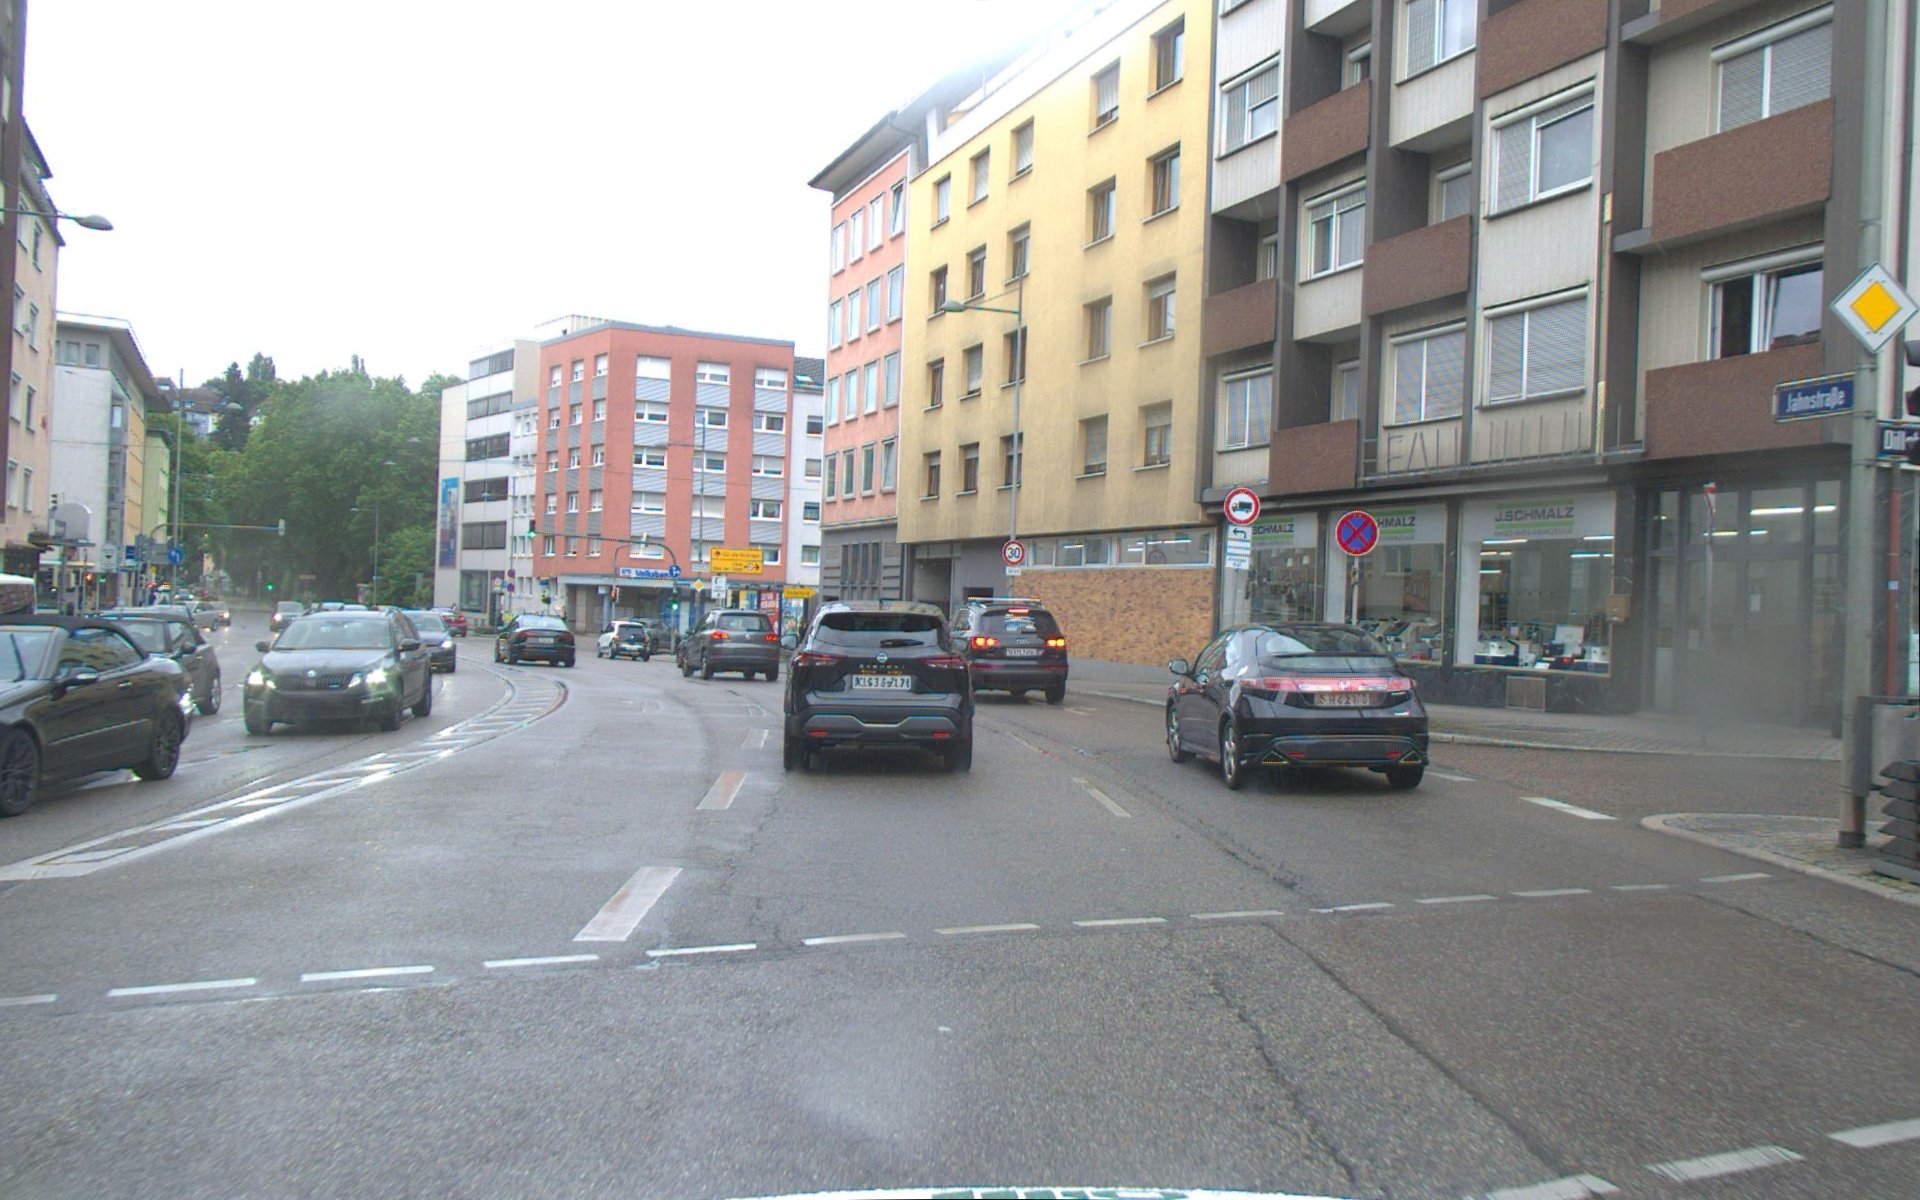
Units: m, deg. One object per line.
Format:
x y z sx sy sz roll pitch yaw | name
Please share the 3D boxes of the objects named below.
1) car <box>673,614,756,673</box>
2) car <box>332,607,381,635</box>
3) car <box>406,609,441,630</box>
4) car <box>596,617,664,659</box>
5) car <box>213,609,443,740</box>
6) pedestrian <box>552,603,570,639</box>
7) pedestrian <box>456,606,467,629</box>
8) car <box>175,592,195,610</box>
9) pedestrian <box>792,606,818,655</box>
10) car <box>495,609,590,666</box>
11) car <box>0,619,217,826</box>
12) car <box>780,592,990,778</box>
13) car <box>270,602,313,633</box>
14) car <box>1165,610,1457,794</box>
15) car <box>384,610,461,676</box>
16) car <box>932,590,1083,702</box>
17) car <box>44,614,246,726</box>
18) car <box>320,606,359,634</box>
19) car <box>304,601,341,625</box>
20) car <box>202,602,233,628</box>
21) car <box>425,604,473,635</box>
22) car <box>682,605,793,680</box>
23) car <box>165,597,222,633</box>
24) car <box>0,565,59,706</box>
-8.212 1.406 55.053 1.918 1.848 3.974 0 0 -21 | car
-34.319 1.211 94.015 1.914 1.553 4.092 2 -2 -30 | car
-39.858 1.412 122.870 1.696 1.467 4.041 0 0 -30 | car
-13.745 1.559 68.731 1.966 1.512 3.973 4 -1 -22 | car
-7.962 0.866 21.283 1.948 1.485 4.474 0 0 -10 | car
-24.982 1.313 103.622 0.815 2.196 0.764 4 -2 -25 | pedestrian
-37.975 1.308 126.065 0.608 1.767 0.672 0 0 -38 | pedestrian
-87.976 0.135 187.728 1.968 1.892 3.968 4 -1 -25 | car
-5.891 1.157 62.827 0.663 1.819 1.089 3 -1 -20 | pedestrian
-12.234 1.069 48.300 1.967 1.412 4.468 4 -1 -23 | car
-7.505 0.846 12.822 1.789 1.390 4.597 0 -1 -6 | car
-0.882 0.775 16.856 1.858 1.657 3.994 1 0 -6 | car
-37.242 0.974 92.105 1.840 1.676 4.216 1 -1 -27 | car
3.196 0.864 15.861 1.748 1.523 4.054 0 0 -3 | car
-13.162 1.002 40.378 1.659 1.498 3.976 -1 0 -20 | car
0.775 0.801 30.549 1.983 1.902 4.890 0 -1 -8 | car
-11.355 0.914 23.288 1.692 1.424 3.584 0 0 -12 | car
-37.313 1.209 99.363 1.798 1.637 4.394 2 -1 -26 | car
-41.478 0.876 107.554 1.799 1.459 4.360 2 -2 -27 | car
-47.372 0.950 105.427 1.672 1.655 3.966 1 -1 -26 | car
-28.240 1.060 91.394 1.968 1.556 3.969 4 -1 -24 | car
-5.424 0.977 39.958 1.916 1.714 3.978 0 0 -19 | car
-40.144 0.792 86.727 1.651 1.735 3.989 4 -1 -11 | car
-15.104 0.462 24.221 2.084 2.050 5.107 4 -3 -15 | car
